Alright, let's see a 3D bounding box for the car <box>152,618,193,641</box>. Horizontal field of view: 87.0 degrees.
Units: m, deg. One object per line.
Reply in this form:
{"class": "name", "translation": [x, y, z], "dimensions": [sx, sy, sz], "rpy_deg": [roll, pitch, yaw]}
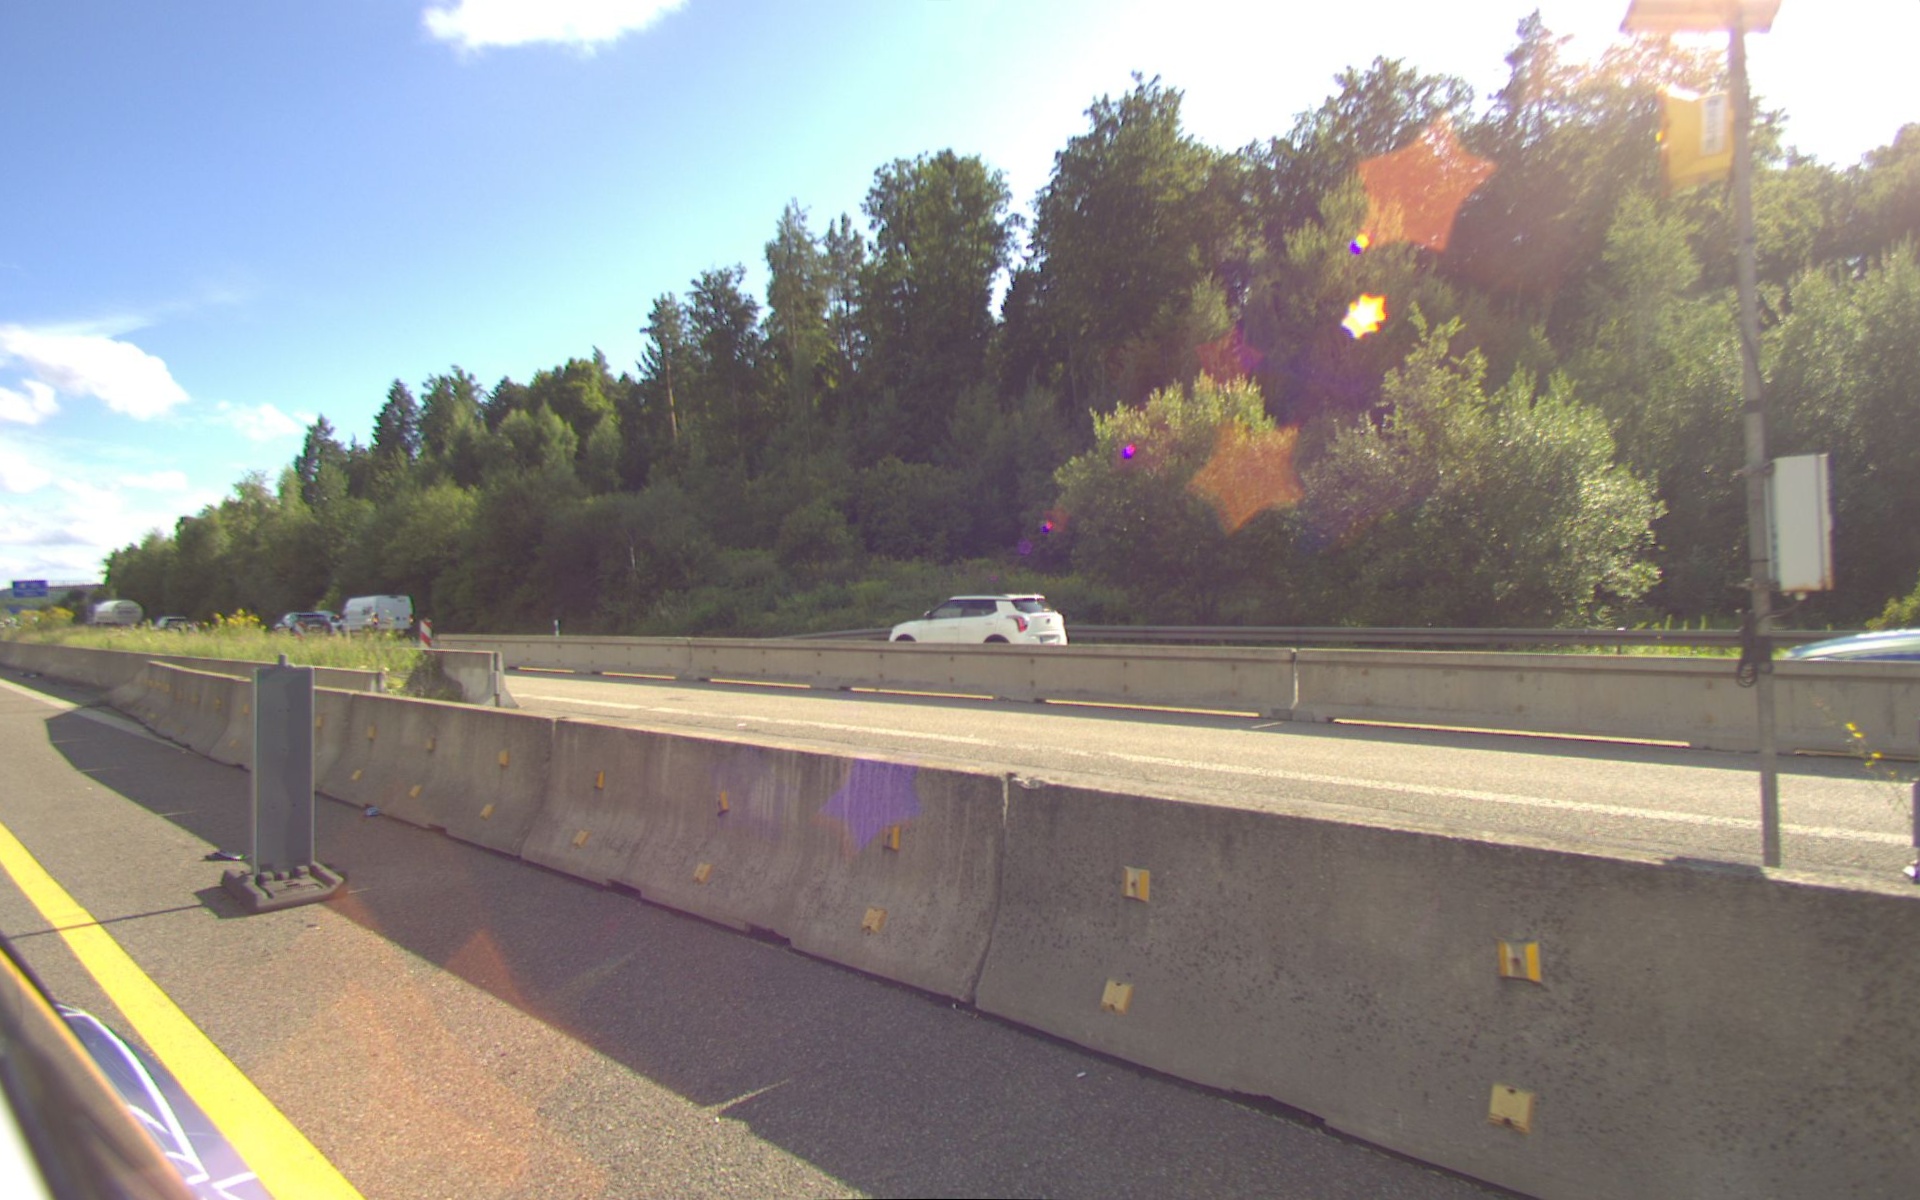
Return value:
{"class": "car", "translation": [-58.501, 2.142, 75.184], "dimensions": [4.017, 1.614, 1.759], "rpy_deg": [-1, 0, 43]}

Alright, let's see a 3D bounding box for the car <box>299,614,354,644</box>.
{"class": "car", "translation": [-41.157, 1.855, 65.726], "dimensions": [4.761, 1.867, 1.840], "rpy_deg": [-1, 0, 43]}

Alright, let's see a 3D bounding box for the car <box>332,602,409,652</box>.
{"class": "car", "translation": [-34.041, 1.506, 58.374], "dimensions": [6.522, 2.705, 2.006], "rpy_deg": [-1, 0, 43]}

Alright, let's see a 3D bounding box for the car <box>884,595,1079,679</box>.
{"class": "car", "translation": [0.397, 0.749, 21.774], "dimensions": [4.017, 1.614, 1.759], "rpy_deg": [-1, 0, 43]}

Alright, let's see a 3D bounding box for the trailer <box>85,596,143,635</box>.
{"class": "trailer", "translation": [-81.782, 1.487, 97.726], "dimensions": [11.110, 3.516, 2.772], "rpy_deg": [-1, 0, 42]}

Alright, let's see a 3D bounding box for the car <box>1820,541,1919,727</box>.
{"class": "car", "translation": [10.205, 0.261, 8.348], "dimensions": [4.672, 1.614, 1.760], "rpy_deg": [-1, 0, 40]}

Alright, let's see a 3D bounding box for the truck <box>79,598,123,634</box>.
{"class": "truck", "translation": [-86.706, 1.569, 102.169], "dimensions": [4.939, 3.516, 2.755], "rpy_deg": [-1, 0, 43]}

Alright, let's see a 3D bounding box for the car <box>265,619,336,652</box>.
{"class": "car", "translation": [-34.638, 1.820, 53.118], "dimensions": [4.480, 1.600, 1.938], "rpy_deg": [-1, 0, 41]}
